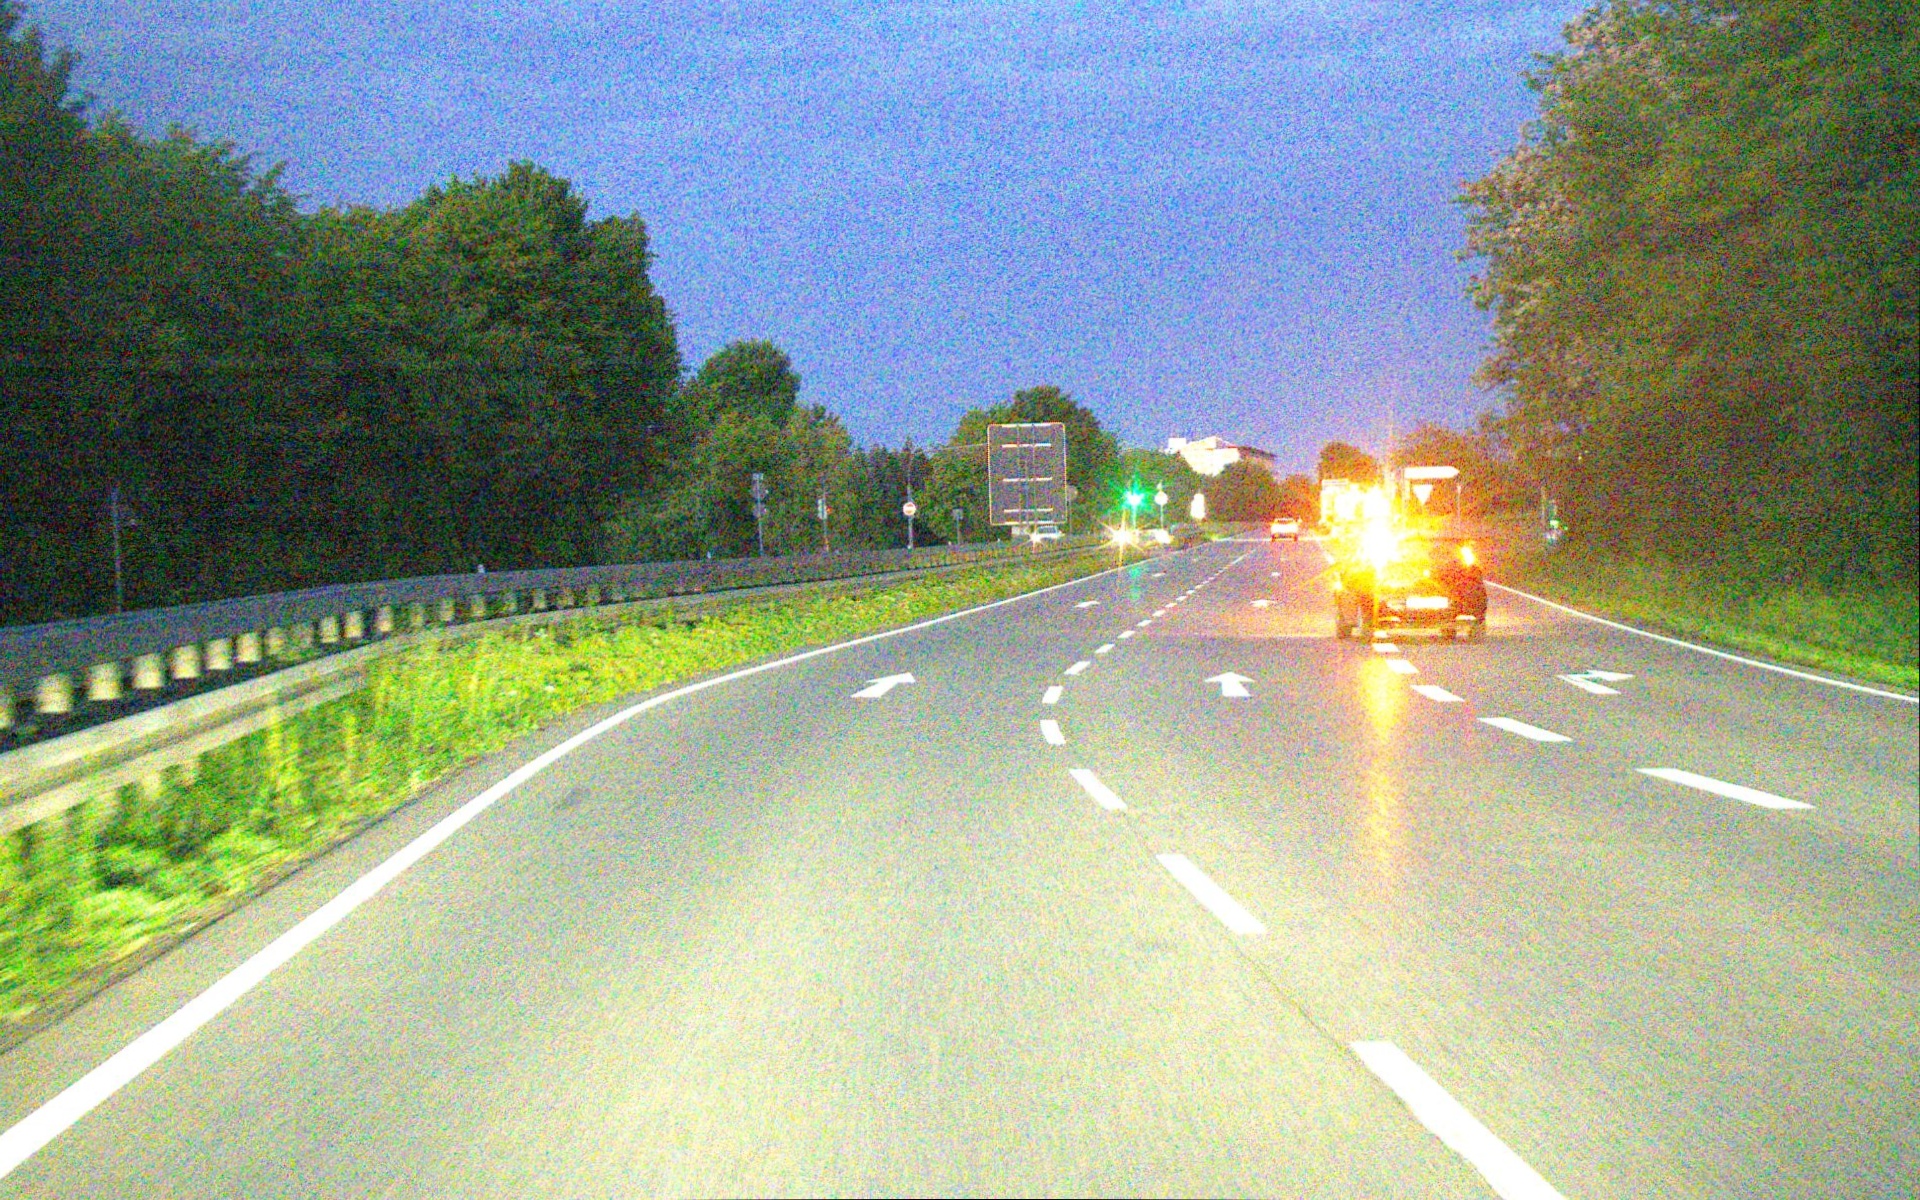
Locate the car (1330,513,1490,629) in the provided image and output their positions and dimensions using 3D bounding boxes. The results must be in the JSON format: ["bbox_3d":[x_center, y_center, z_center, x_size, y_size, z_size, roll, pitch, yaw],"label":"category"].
[{"bbox_3d":[6.038,-0.428,46.522,1.753,1.448,4.433,-1,1,3],"label":"car"}]

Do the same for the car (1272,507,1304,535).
[{"bbox_3d":[22.832,-5.517,239.762,1.994,1.744,3.999,-5,0,4],"label":"car"}]
